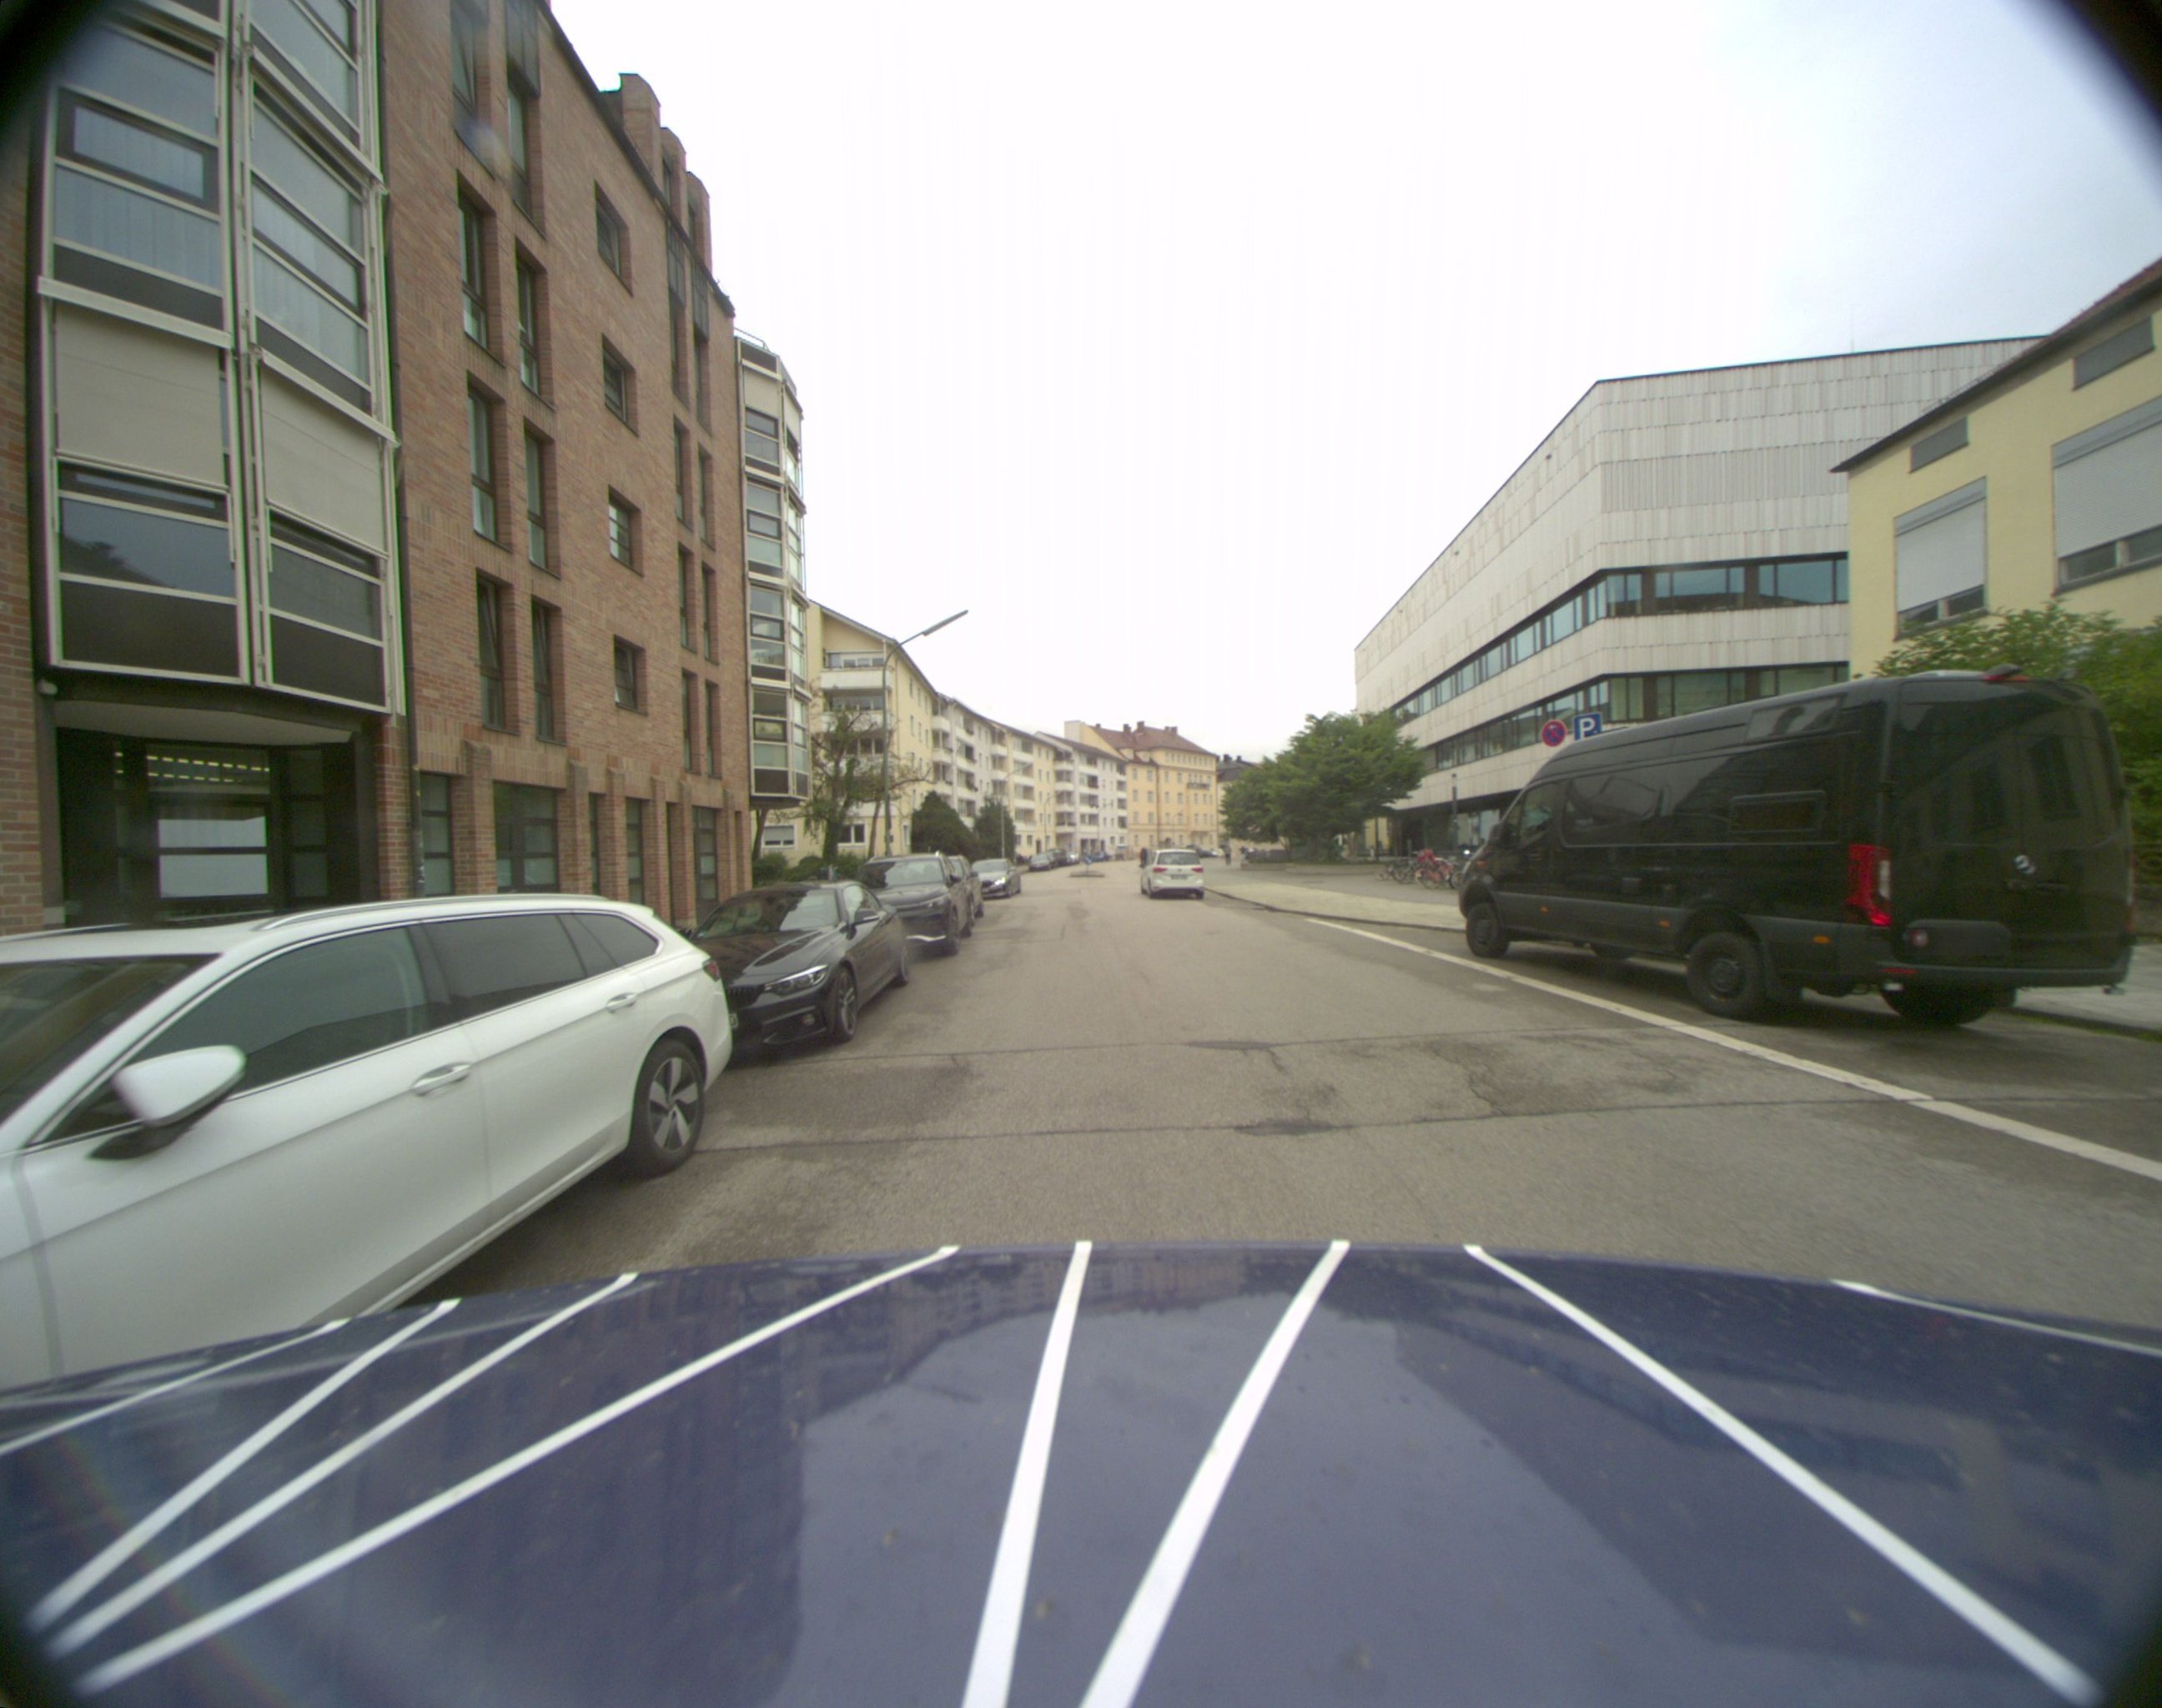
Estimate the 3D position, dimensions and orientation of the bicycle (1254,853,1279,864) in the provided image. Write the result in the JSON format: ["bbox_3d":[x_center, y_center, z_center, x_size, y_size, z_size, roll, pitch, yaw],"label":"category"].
[{"bbox_3d":[17.025,0.390,69.787,2.146,0.985,0.798,-1,1,-10],"label":"bicycle"}]

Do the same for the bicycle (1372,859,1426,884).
[{"bbox_3d":[12.638,0.684,30.216,1.850,0.921,0.739,-1,1,2],"label":"bicycle"}]

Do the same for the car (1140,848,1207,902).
[{"bbox_3d":[3.073,0.649,25.977,1.797,1.664,4.149,0,1,1],"label":"car"}]

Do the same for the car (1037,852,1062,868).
[{"bbox_3d":[-2.924,0.549,70.929,1.823,1.467,4.002,-1,0,5],"label":"car"}]

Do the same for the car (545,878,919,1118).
[{"bbox_3d":[-2.990,1.104,7.824,1.762,1.358,4.779,-5,1,-3],"label":"car"}]

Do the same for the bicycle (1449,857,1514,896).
[{"bbox_3d":[12.041,0.672,22.846,1.657,1.097,0.501,-1,1,3],"label":"bicycle"}]

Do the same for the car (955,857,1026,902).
[{"bbox_3d":[-3.296,0.893,28.488,1.882,1.428,4.334,-4,0,3],"label":"car"}]

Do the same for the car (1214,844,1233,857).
[{"bbox_3d":[21.979,-0.528,117.106,1.889,2.002,4.006,-1,1,26],"label":"car"}]

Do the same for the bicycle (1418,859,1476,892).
[{"bbox_3d":[11.673,0.681,24.254,1.585,1.010,0.443,-2,1,10],"label":"bicycle"}]

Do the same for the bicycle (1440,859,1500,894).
[{"bbox_3d":[12.028,0.691,23.526,1.586,1.005,0.442,-2,1,1],"label":"bicycle"}]

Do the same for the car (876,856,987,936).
[{"bbox_3d":[-3.341,0.859,17.842,1.882,1.582,4.506,-1,0,-3],"label":"car"}]

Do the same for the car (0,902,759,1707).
[{"bbox_3d":[-2.988,1.034,2.398,1.859,1.406,5.014,-1,0,-1],"label":"car"}]

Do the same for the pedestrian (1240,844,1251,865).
[{"bbox_3d":[13.851,0.028,63.909,0.787,1.776,0.516,-1,1,-1],"label":"pedestrian"}]

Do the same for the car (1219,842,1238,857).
[{"bbox_3d":[23.880,-0.814,122.857,1.889,2.343,4.006,-1,1,26],"label":"car"}]

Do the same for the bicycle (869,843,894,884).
[{"bbox_3d":[-10.011,0.461,38.179,0.653,2.002,1.993,-1,1,0],"label":"bicycle"}]

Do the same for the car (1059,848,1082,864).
[{"bbox_3d":[-1.142,0.185,83.653,1.997,1.630,4.002,-1,0,7],"label":"car"}]

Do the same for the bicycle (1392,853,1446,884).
[{"bbox_3d":[12.934,0.542,29.128,1.815,1.145,0.519,-1,1,4],"label":"bicycle"}]

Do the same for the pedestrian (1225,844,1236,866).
[{"bbox_3d":[12.222,0.040,62.234,0.787,1.776,0.516,-1,1,-1],"label":"pedestrian"}]

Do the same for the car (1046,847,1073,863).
[{"bbox_3d":[-2.104,0.087,75.581,1.997,1.587,4.002,-1,0,8],"label":"car"}]

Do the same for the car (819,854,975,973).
[{"bbox_3d":[-2.926,0.839,13.135,1.883,1.636,4.642,-1,0,-5],"label":"car"}]

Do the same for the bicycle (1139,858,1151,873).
[{"bbox_3d":[4.488,0.811,53.670,0.707,1.042,1.463,0,0,-1],"label":"bicycle"}]

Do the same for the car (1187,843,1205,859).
[{"bbox_3d":[15.139,-0.463,100.208,1.891,2.002,4.004,-1,1,15],"label":"car"}]

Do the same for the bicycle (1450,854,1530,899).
[{"bbox_3d":[11.566,0.620,21.510,1.945,1.209,0.497,-1,1,4],"label":"bicycle"}]

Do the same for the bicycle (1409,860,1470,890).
[{"bbox_3d":[12.133,0.697,25.749,1.819,0.957,0.473,-1,1,1],"label":"bicycle"}]

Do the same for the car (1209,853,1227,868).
[{"bbox_3d":[19.988,0.889,110.601,1.890,2.002,4.005,-1,1,19],"label":"car"}]

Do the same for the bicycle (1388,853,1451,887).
[{"bbox_3d":[12.178,0.568,27.374,1.914,1.187,0.745,-1,1,1],"label":"bicycle"}]

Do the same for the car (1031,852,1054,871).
[{"bbox_3d":[-3.291,0.627,65.835,1.755,1.483,3.999,-1,1,0],"label":"car"}]

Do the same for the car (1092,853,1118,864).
[{"bbox_3d":[3.205,0.589,100.160,1.680,1.280,4.008,-1,0,31],"label":"car"}]

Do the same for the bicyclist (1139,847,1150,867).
[{"bbox_3d":[4.474,0.213,53.604,0.618,1.342,0.832,-1,1,-1],"label":"bicyclist"}]

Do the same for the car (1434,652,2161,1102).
[{"bbox_3d":[6.352,0.141,7.956,2.219,2.837,6.195,1,1,-1],"label":"car"}]

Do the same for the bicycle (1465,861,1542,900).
[{"bbox_3d":[11.641,0.736,20.959,1.815,1.017,0.519,-1,1,4],"label":"bicycle"}]
